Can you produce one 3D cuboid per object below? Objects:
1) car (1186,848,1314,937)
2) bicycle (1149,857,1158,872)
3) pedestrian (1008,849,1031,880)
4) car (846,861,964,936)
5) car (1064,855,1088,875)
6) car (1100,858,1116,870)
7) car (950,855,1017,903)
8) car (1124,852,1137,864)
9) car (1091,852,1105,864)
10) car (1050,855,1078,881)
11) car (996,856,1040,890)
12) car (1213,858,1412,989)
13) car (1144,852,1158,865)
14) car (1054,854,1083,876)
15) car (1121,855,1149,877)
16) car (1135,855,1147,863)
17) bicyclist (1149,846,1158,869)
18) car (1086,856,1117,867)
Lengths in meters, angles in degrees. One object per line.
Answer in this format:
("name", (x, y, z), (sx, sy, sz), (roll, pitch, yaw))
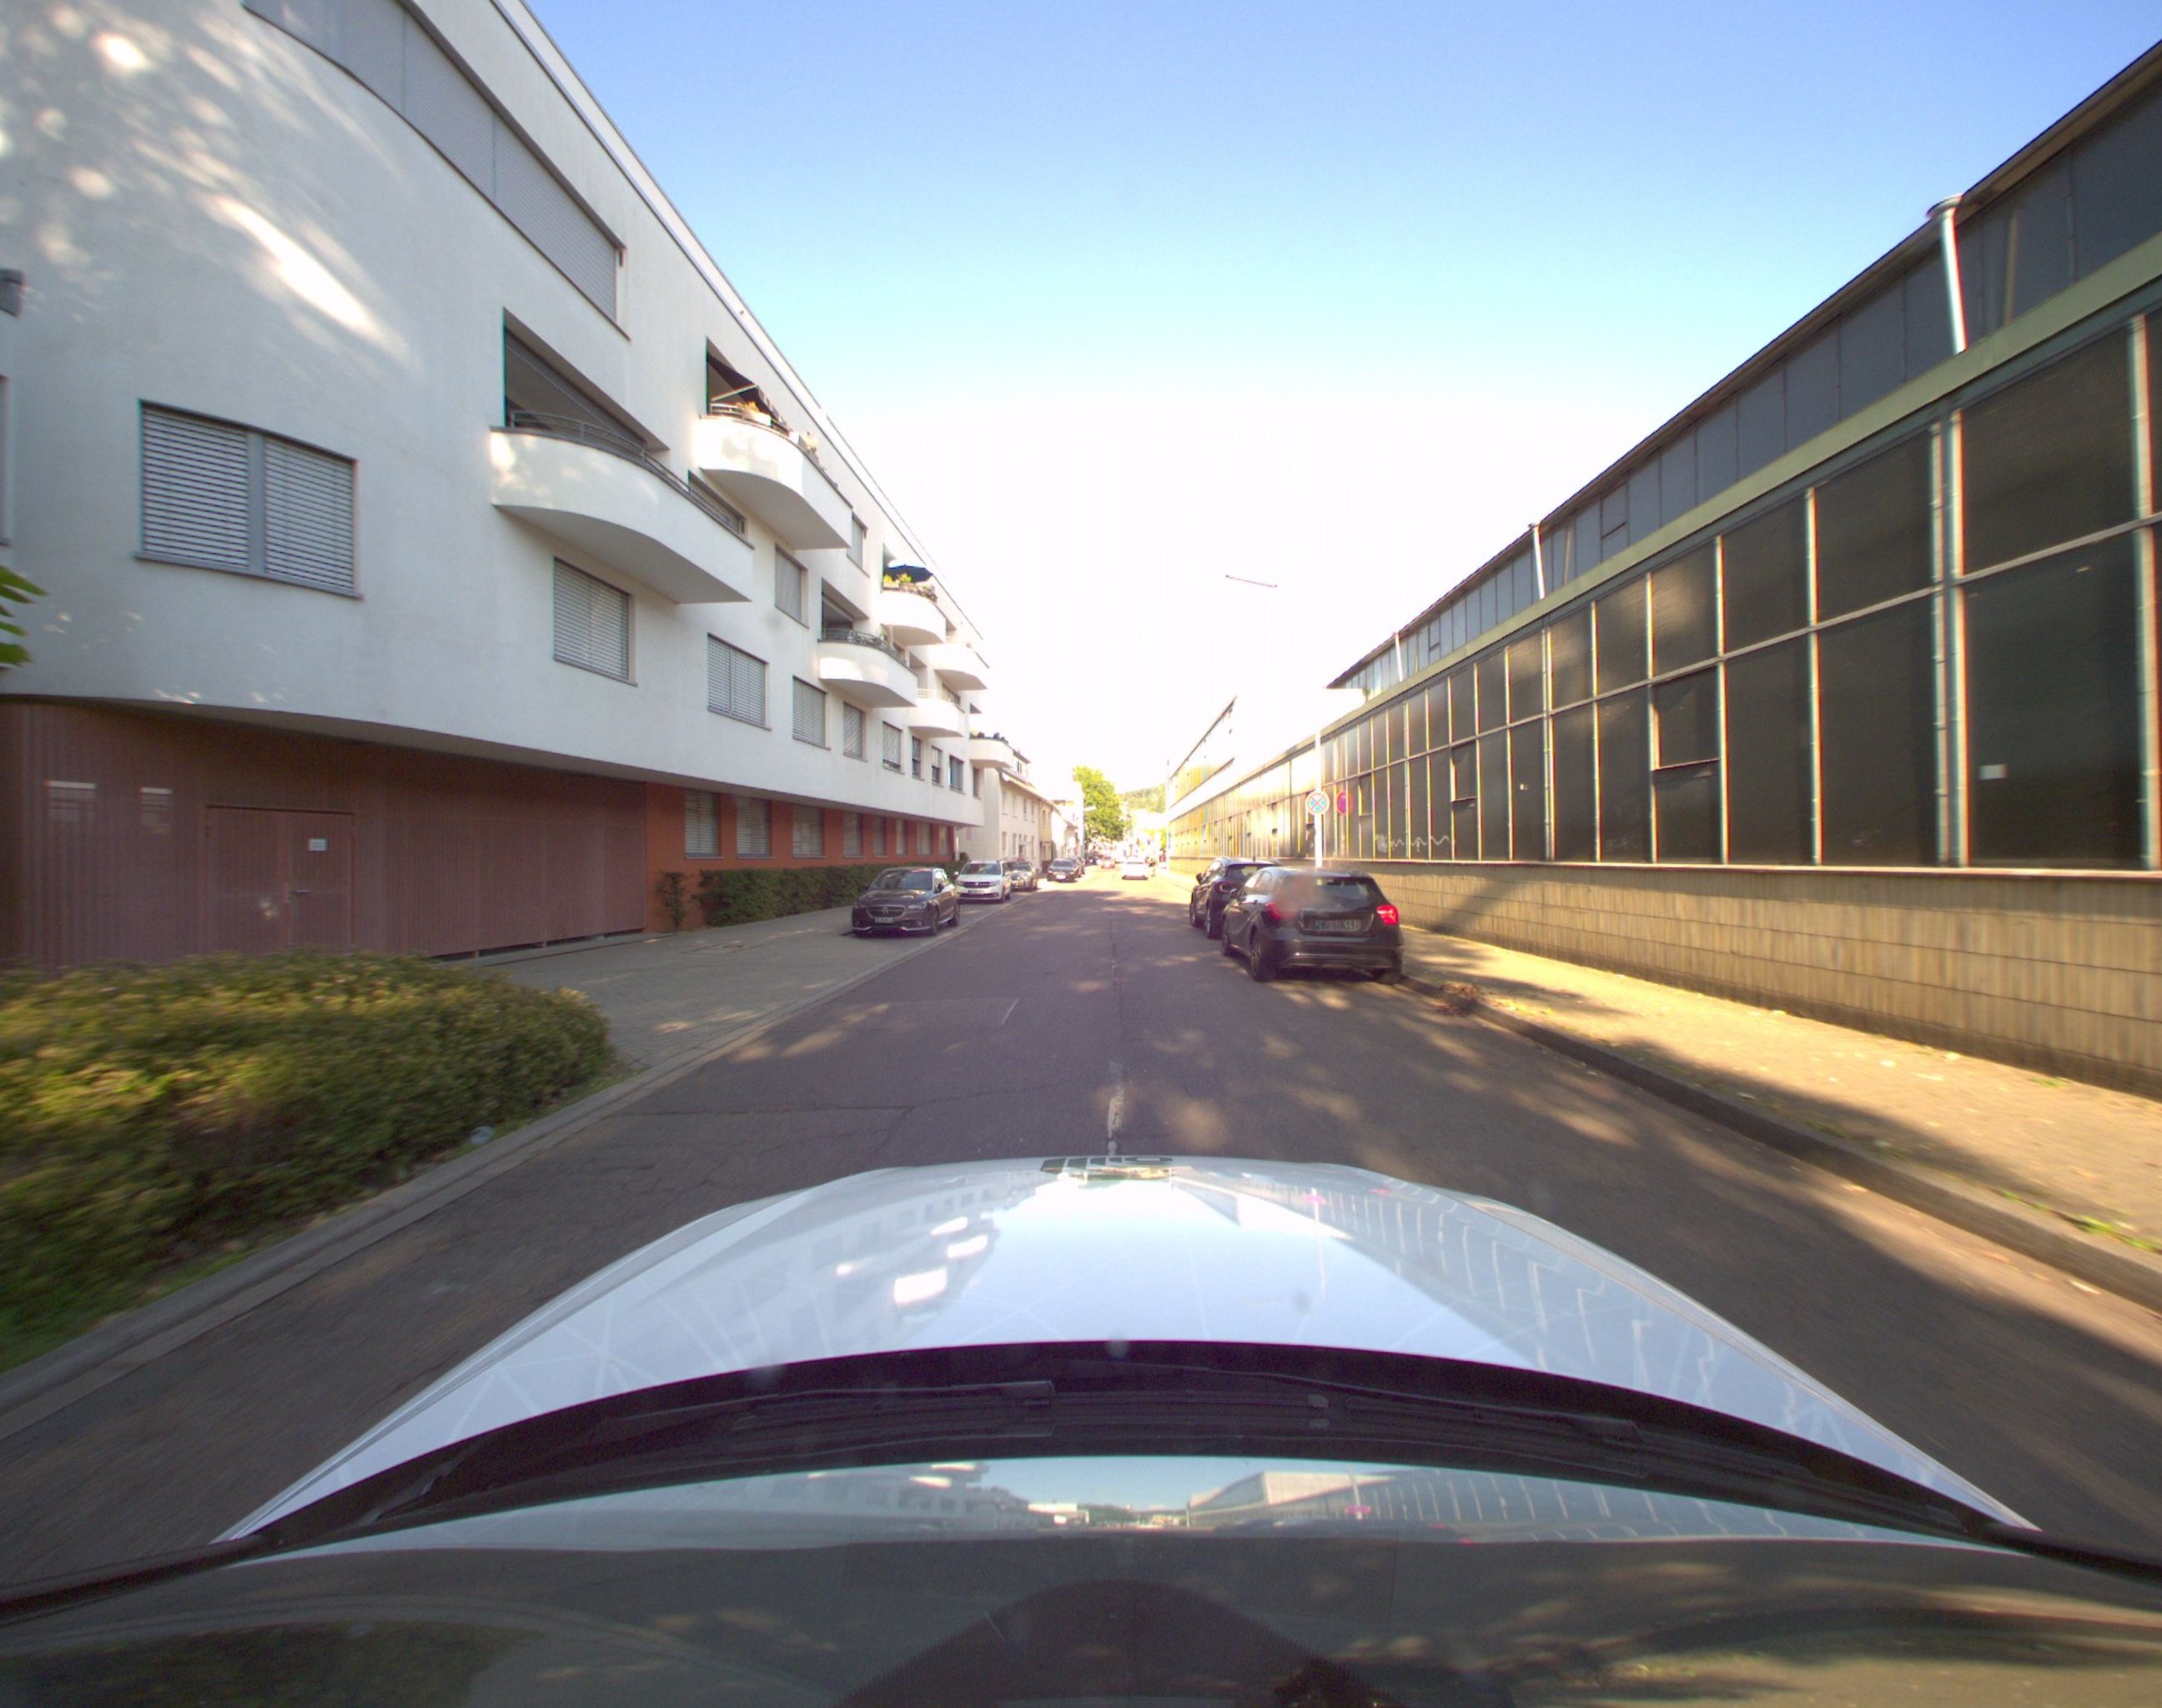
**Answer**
("car", (3.347, 0.716, 16.969), (1.801, 1.587, 4.405), (1, -1, 1))
("bicycle", (5.721, 0.828, 64.078), (0.695, 1.130, 2.405), (0, -1, 4))
("pedestrian", (-3.801, 0.651, 50.194), (0.853, 1.818, 1.138), (3, 0, 26))
("car", (-3.748, 0.896, 17.976), (1.668, 1.433, 3.771), (1, -1, 1))
("car", (-0.404, 0.949, 71.337), (1.801, 1.587, 4.196), (1, 1, 3))
("car", (3.236, 1.190, 98.221), (1.835, 1.491, 4.147), (0, -1, 3))
("car", (-3.484, 0.868, 29.874), (1.852, 1.587, 4.620), (1, -1, 0))
("car", (7.786, 0.610, 128.525), (1.846, 1.791, 4.608), (0, 0, 1))
("car", (2.605, 0.644, 125.908), (1.844, 1.791, 4.613), (0, 0, 5))
("car", (-1.067, 0.876, 52.062), (1.679, 1.535, 4.333), (1, -1, -1))
("car", (-2.988, 0.900, 39.252), (1.661, 1.536, 3.859), (1, -1, 2))
("car", (3.068, 0.824, 11.786), (1.743, 1.491, 4.624), (1, -1, 3))
("car", (9.332, 0.607, 108.638), (1.623, 1.587, 4.072), (-3, -1, 3))
("car", (-0.933, 0.809, 62.107), (1.849, 1.587, 4.340), (1, 1, 4))
("car", (3.656, 0.815, 55.692), (1.835, 1.491, 4.146), (0, -1, 2))
("car", (10.955, 0.859, 149.030), (1.831, 1.491, 4.154), (0, -1, 9))
("bicyclist", (5.719, 0.300, 64.062), (0.695, 1.790, 1.042), (0, -1, 4))
("car", (2.830, 1.022, 111.739), (4.105, 1.491, 1.853), (0, -1, 9))
